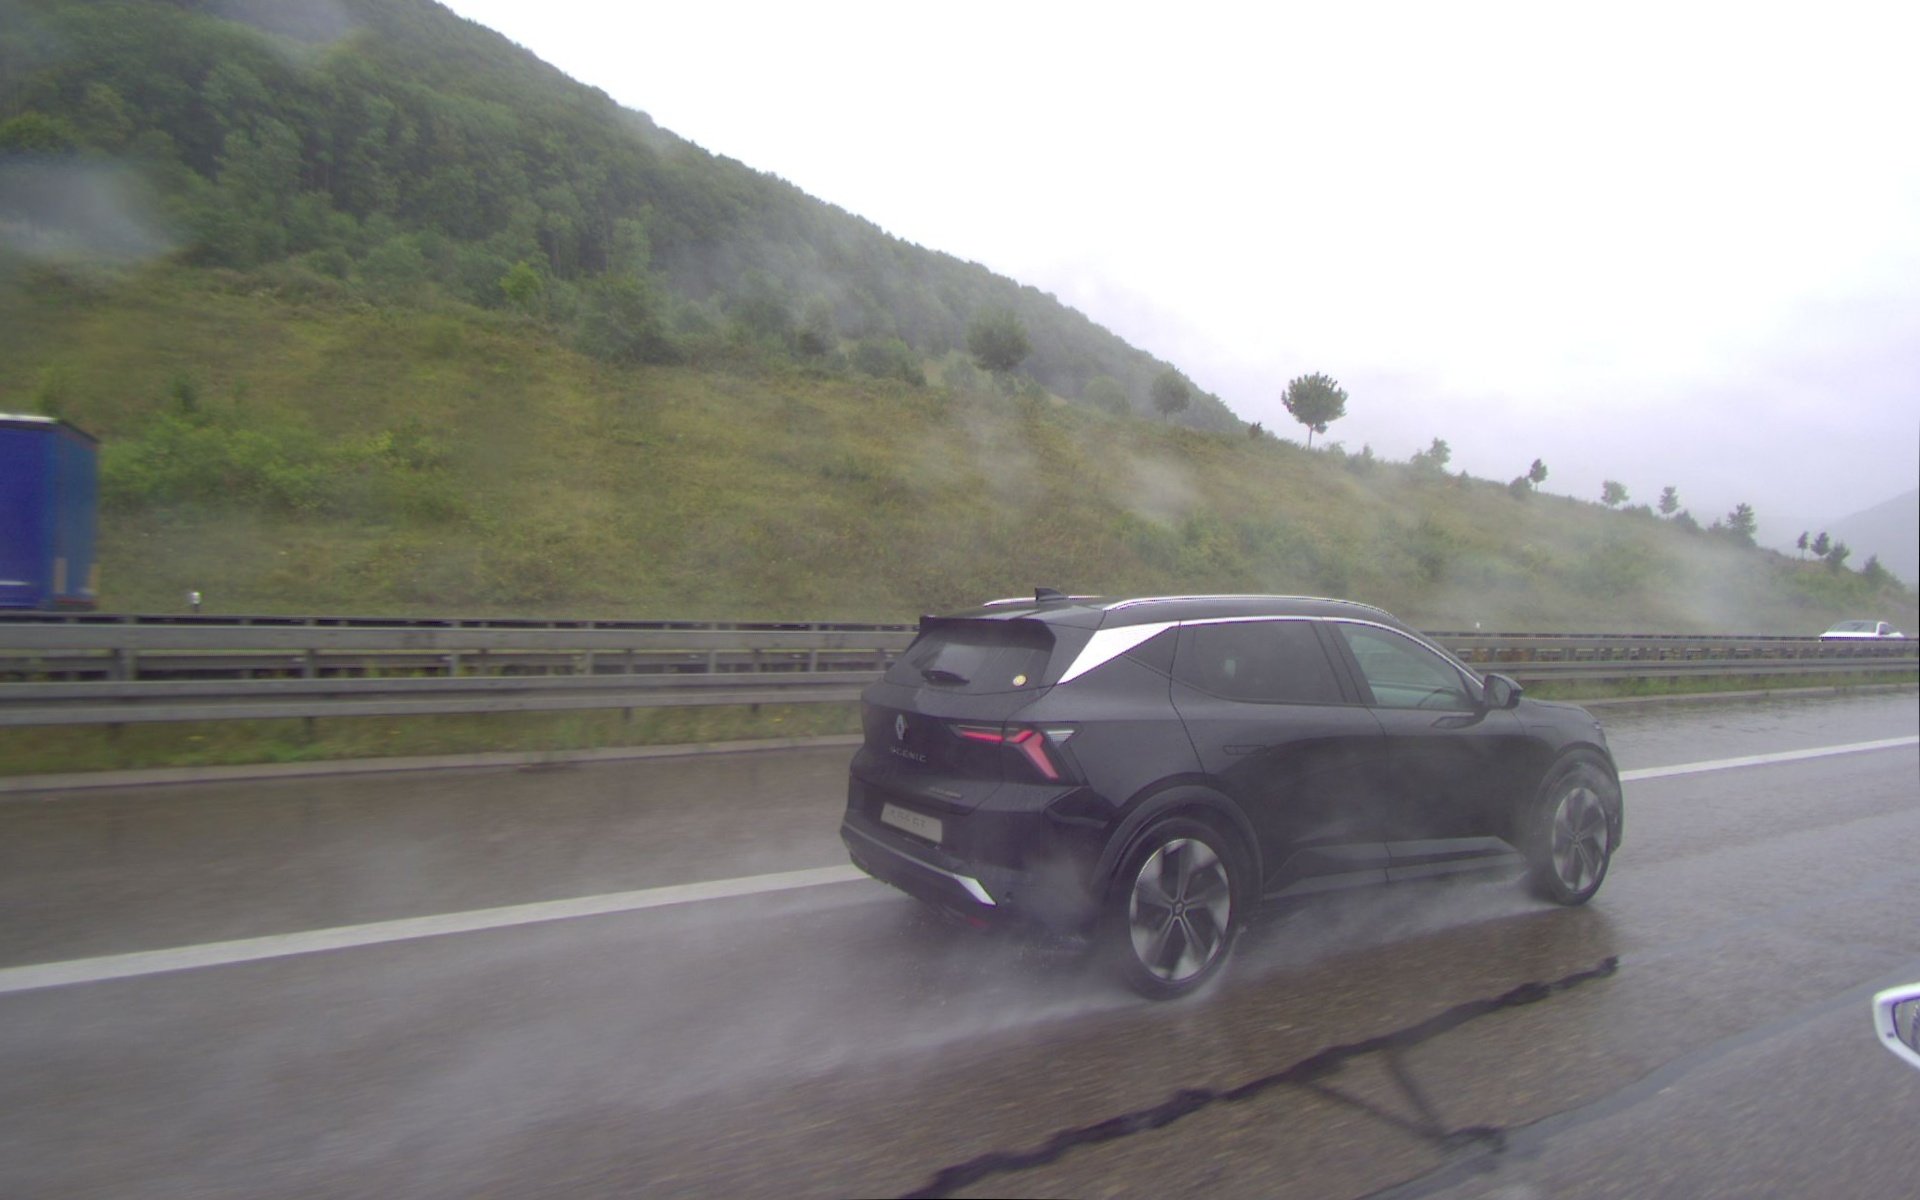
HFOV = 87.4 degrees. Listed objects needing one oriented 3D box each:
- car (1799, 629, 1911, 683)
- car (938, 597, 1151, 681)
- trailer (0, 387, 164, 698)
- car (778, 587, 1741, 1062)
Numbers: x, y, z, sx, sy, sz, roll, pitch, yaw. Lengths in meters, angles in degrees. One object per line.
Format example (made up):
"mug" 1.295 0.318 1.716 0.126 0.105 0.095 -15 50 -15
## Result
"car" 37.284 2.292 41.805 5.327 2.040 1.984 1 0 -31
"car" 1.971 0.869 23.112 4.605 1.768 1.983 1 -1 -31
"trailer" -20.272 -1.025 14.117 13.878 4.849 2.723 1 0 -31
"car" 1.668 0.776 5.454 4.725 1.535 2.396 1 0 -29
